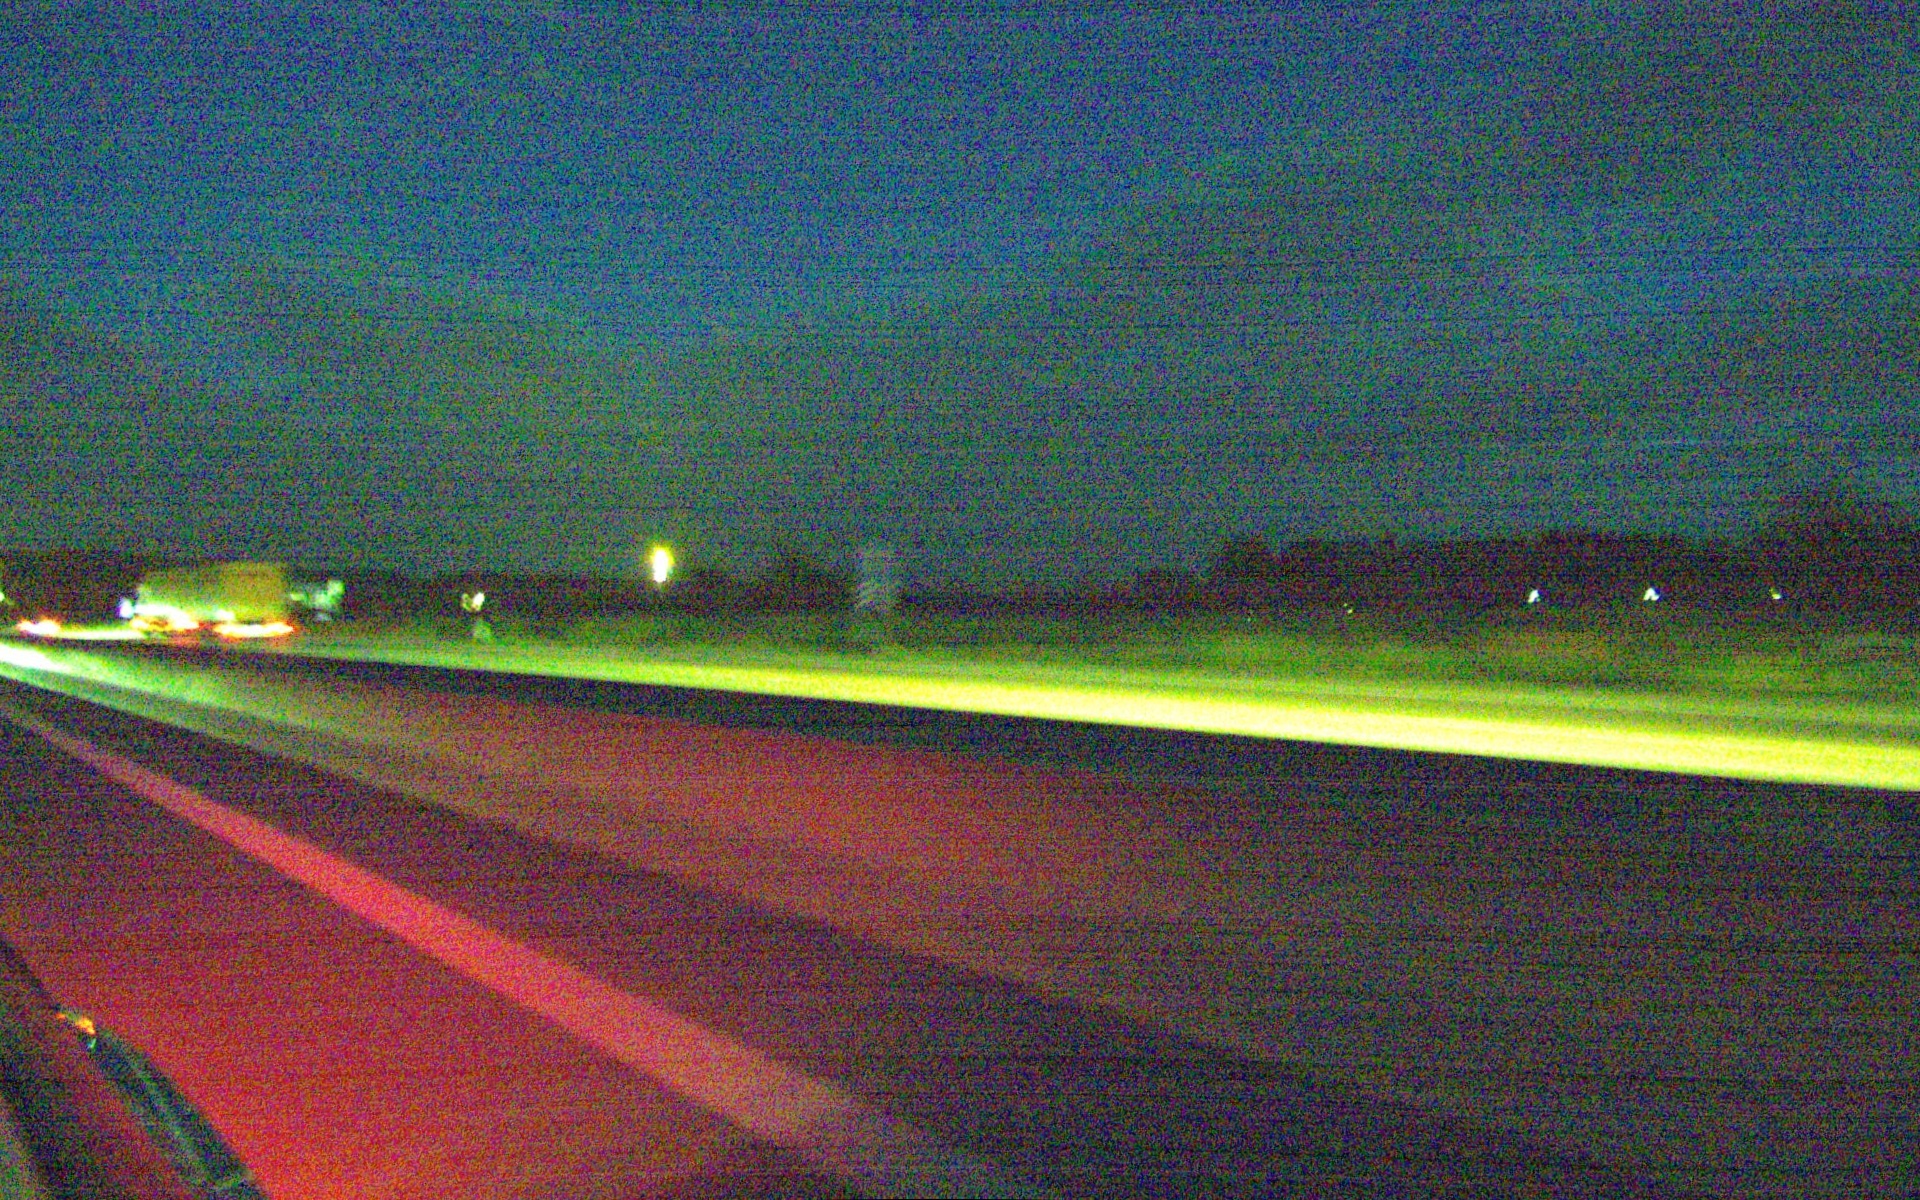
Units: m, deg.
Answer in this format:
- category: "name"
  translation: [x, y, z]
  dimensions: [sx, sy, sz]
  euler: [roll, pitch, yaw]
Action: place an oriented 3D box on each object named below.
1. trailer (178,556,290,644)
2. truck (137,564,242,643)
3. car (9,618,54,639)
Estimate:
- category: "trailer"
  translation: [-39.532, 0.055, 54.957]
  dimensions: [8.596, 4.472, 3.019]
  euler: [-1, -1, 41]
- category: "truck"
  translation: [-46.737, 0.260, 61.211]
  dimensions: [10.417, 4.472, 3.019]
  euler: [-1, -1, 41]
- category: "car"
  translation: [-66.051, 2.029, 71.979]
  dimensions: [4.387, 1.395, 1.750]
  euler: [-1, -1, 40]
